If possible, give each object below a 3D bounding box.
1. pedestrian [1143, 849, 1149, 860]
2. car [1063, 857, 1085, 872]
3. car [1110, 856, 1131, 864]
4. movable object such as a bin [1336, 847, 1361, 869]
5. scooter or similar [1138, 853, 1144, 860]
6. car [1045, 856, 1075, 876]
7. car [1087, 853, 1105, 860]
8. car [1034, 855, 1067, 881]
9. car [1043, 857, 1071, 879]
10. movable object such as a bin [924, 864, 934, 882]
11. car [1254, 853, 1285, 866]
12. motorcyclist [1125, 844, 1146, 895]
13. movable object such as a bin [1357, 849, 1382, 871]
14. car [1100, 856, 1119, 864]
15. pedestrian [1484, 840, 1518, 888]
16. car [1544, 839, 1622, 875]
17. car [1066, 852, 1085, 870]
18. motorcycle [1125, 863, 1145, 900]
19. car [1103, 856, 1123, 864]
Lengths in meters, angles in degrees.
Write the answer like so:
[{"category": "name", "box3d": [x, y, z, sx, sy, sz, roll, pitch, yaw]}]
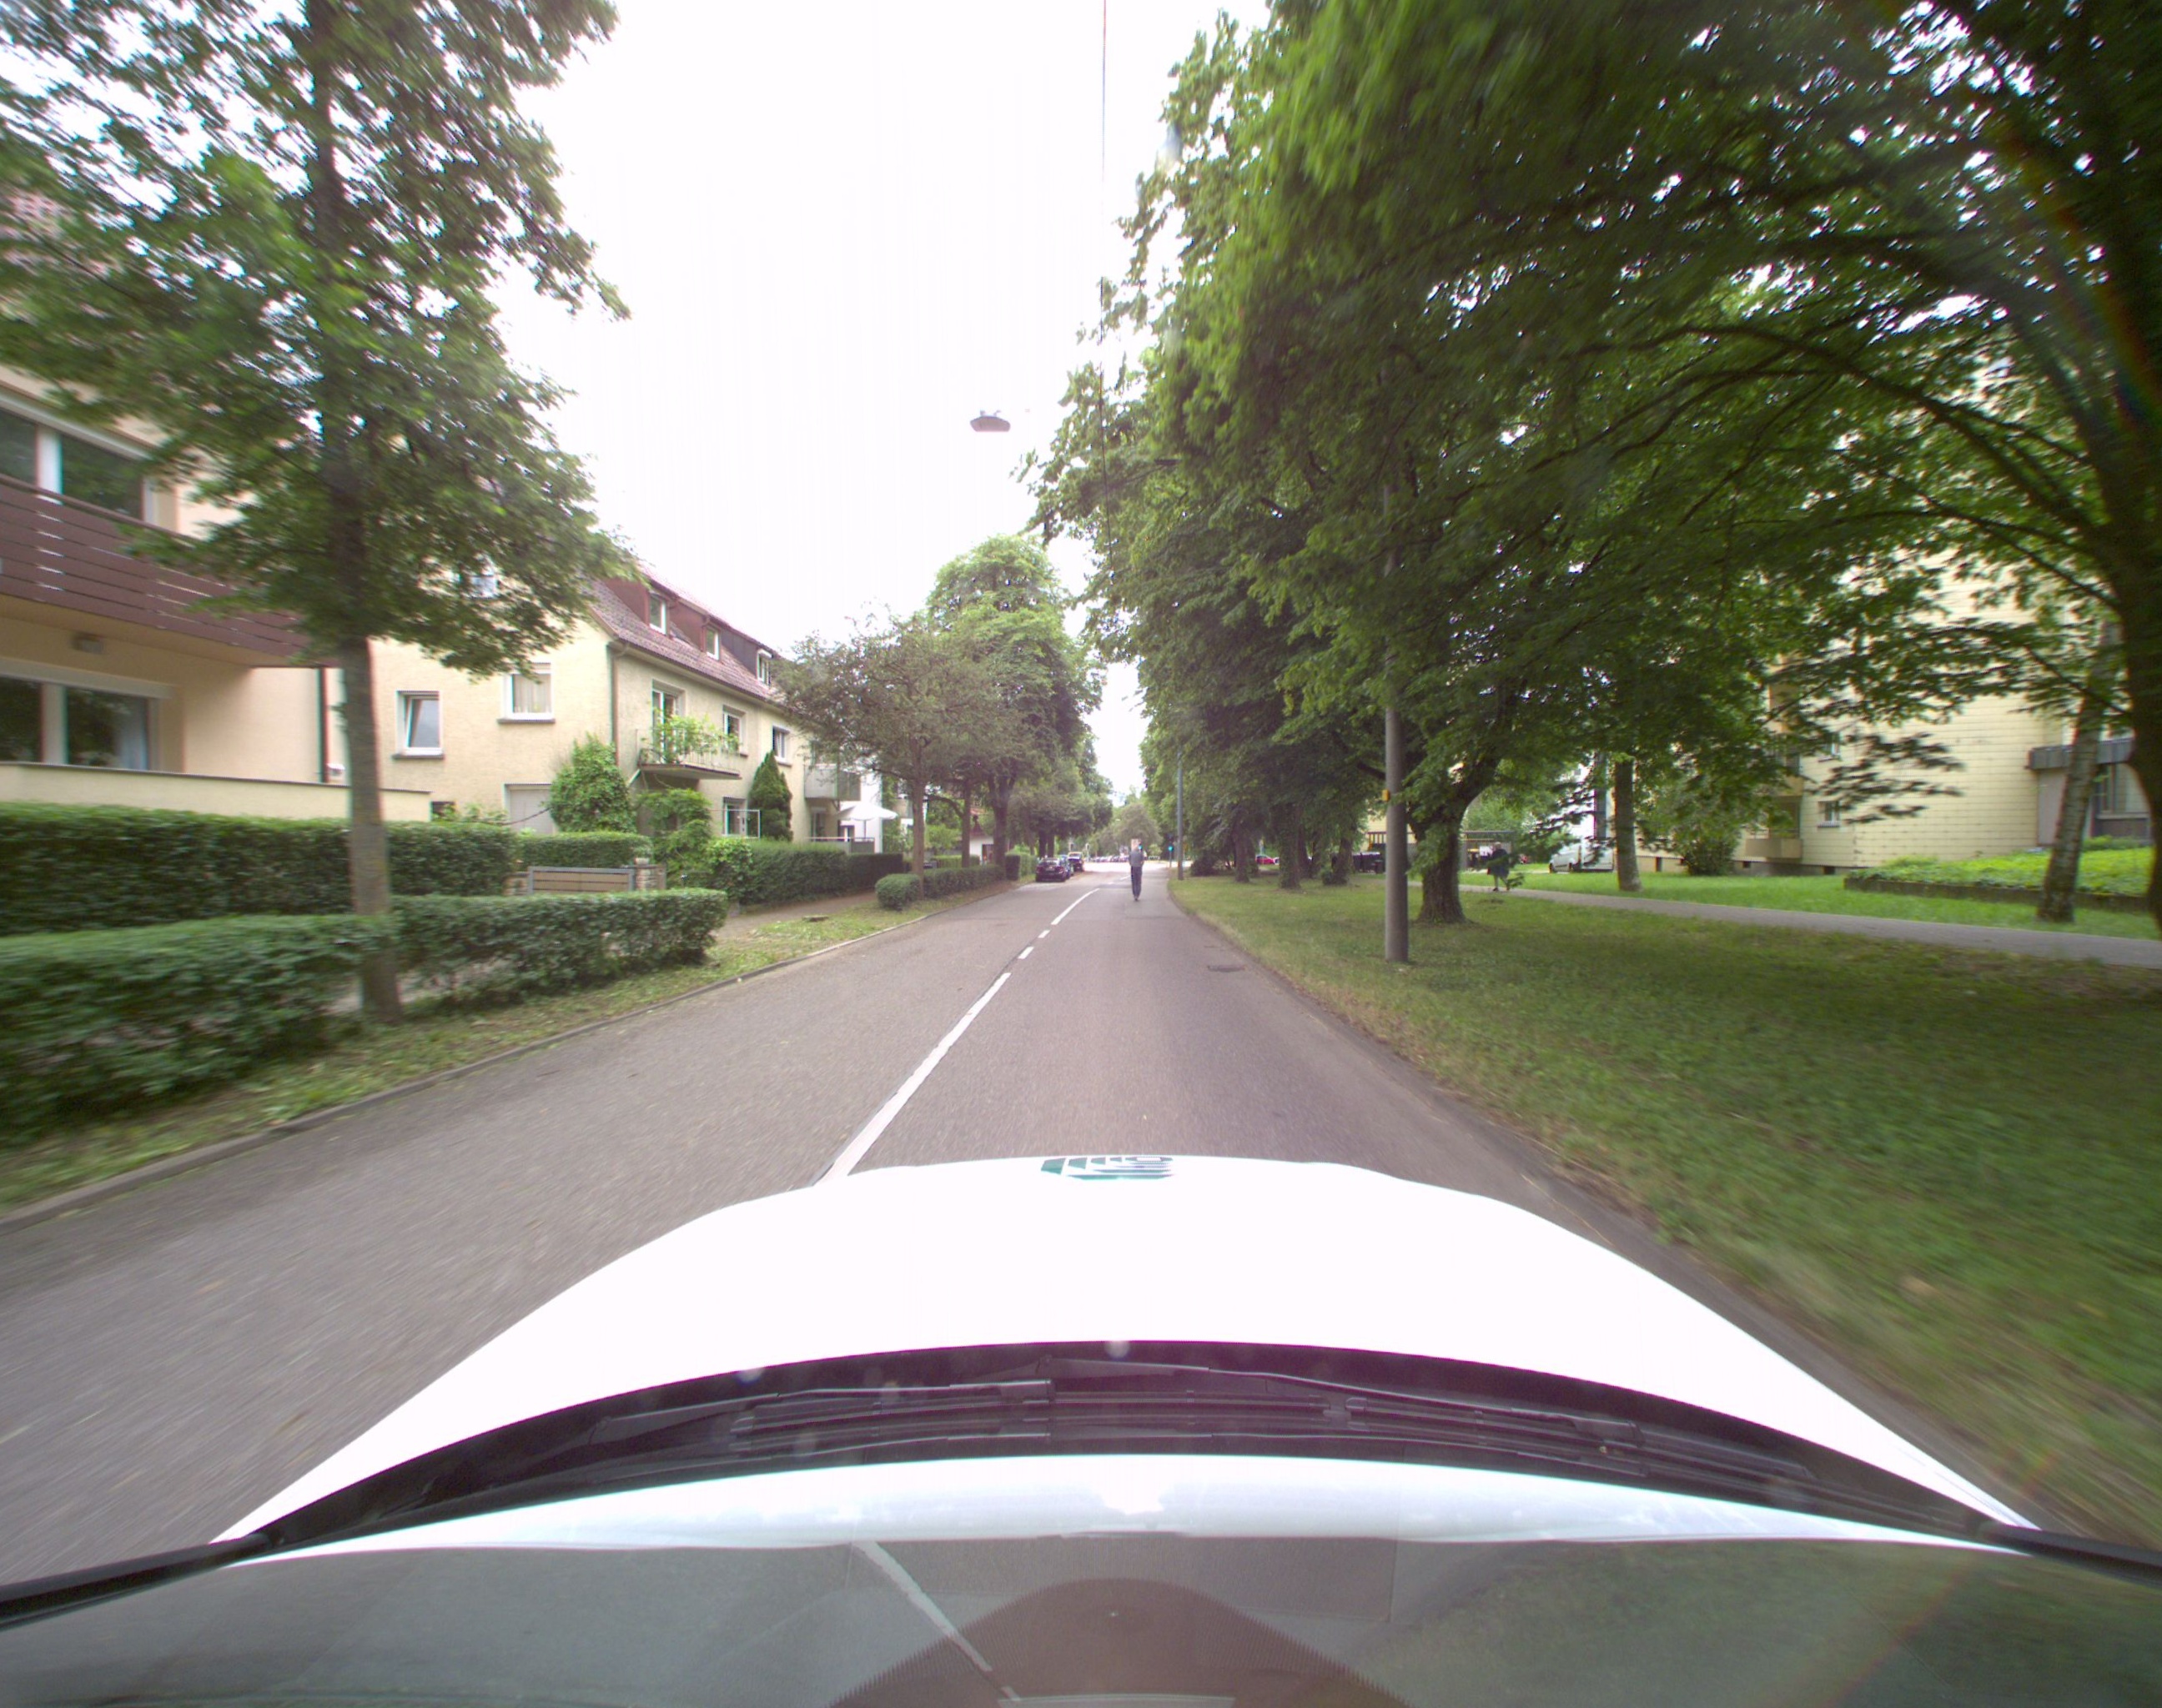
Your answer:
[{"category": "pedestrian", "box3d": [10.217, 0.030, 128.593, 0.726, 1.762, 0.665, -1, -1, 22]}, {"category": "car", "box3d": [-0.679, 1.032, 80.721, 1.884, 1.410, 4.557, -1, -1, 3]}, {"category": "car", "box3d": [7.866, 1.189, 161.528, 3.974, 1.510, 1.800, -1, 0, 0]}, {"category": "movable object such as a bin", "box3d": [18.916, 0.292, 57.551, 1.322, 1.501, 1.314, -2, 0, 0]}, {"category": "scooter or similar", "box3d": [9.512, 0.407, 128.827, 0.704, 1.049, 0.791, -1, -1, 22]}, {"category": "car", "box3d": [-1.516, 0.877, 60.388, 1.786, 1.410, 4.649, -1, 0, 4]}, {"category": "car", "box3d": [3.437, 0.577, 188.989, 3.974, 1.510, 1.800, -1, 0, 0]}, {"category": "car", "box3d": [-1.792, 0.830, 49.666, 1.788, 1.472, 4.418, -1, 0, 0]}, {"category": "car", "box3d": [-1.564, 0.921, 54.566, 1.659, 1.391, 3.707, -1, 0, 0]}, {"category": "movable object such as a bin", "box3d": [-7.667, 0.964, 41.098, 0.455, 0.915, 0.508, -1, -1, -4]}, {"category": "car", "box3d": [25.240, 0.741, 109.282, 3.958, 1.557, 1.808, 1, 3, 15]}, {"category": "motorcyclist", "box3d": [1.898, 0.535, 28.333, 0.670, 1.761, 0.639, 1, 0, 4]}, {"category": "movable object such as a bin", "box3d": [20.356, 0.389, 57.510, 1.322, 1.501, 1.314, -2, 0, 0]}, {"category": "car", "box3d": [6.117, 1.237, 174.223, 3.974, 1.510, 1.800, -1, 0, 0]}, {"category": "pedestrian", "box3d": [14.868, 0.348, 28.856, 0.765, 1.686, 0.815, -2, 0, 1]}, {"category": "car", "box3d": [28.071, 0.097, 45.730, 2.072, 1.842, 4.983, -2, 1, 11]}, {"category": "car", "box3d": [-0.641, 0.801, 91.631, 1.853, 1.964, 4.499, -1, -1, -3]}, {"category": "motorcycle", "box3d": [1.883, 0.931, 28.201, 0.670, 1.217, 1.275, 1, 0, 4]}, {"category": "car", "box3d": [6.759, 1.240, 172.300, 3.974, 1.510, 1.800, -1, 0, 0]}]
